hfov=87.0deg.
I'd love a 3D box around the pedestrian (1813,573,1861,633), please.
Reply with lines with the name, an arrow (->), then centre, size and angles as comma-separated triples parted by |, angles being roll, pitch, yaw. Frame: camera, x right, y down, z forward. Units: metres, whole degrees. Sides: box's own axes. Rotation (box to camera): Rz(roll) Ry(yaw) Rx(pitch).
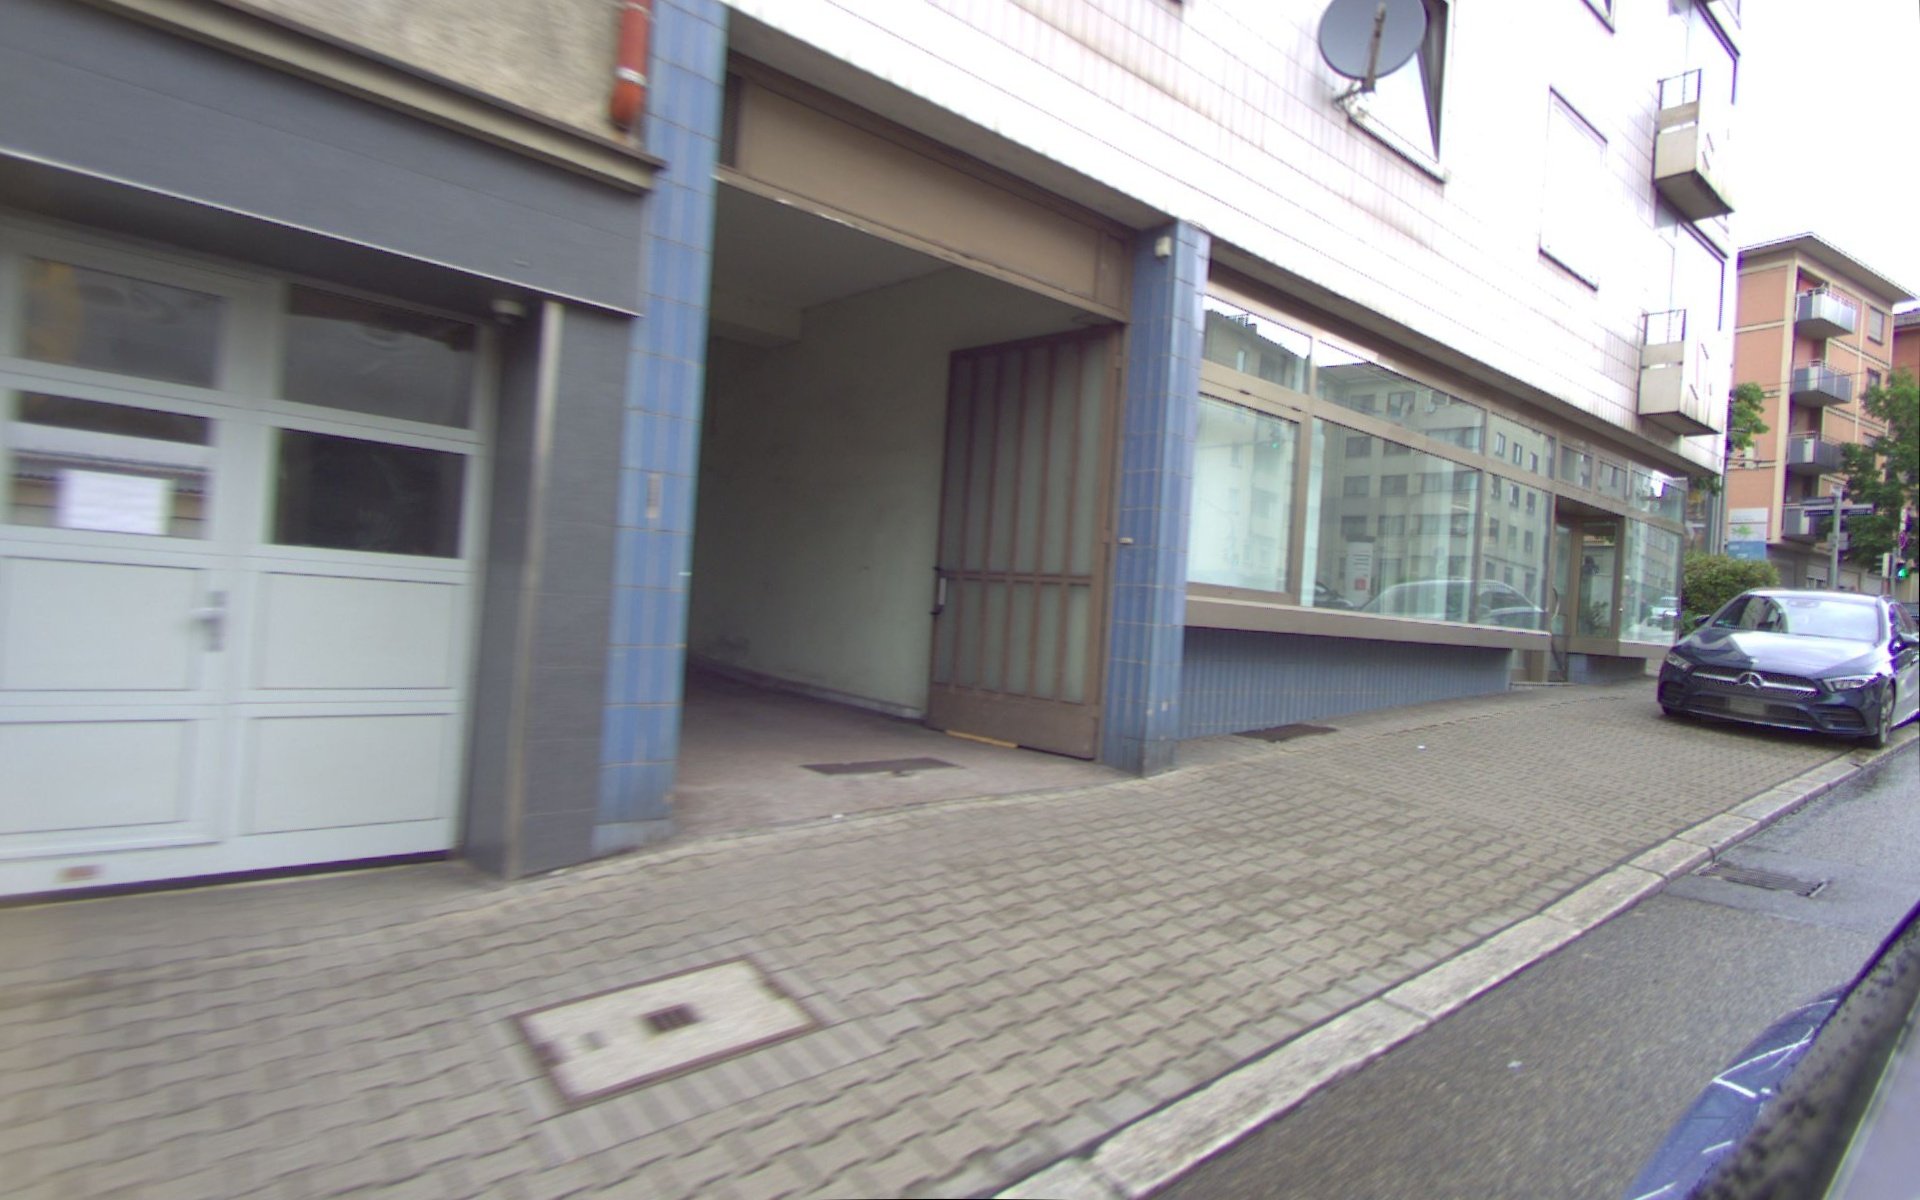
pedestrian -> 26.266, 0.084, 30.316 | 0.743, 1.667, 0.711 | 6, 1, -28

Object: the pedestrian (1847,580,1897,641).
pedestrian -> 26.664, 0.306, 29.609 | 0.751, 1.667, 0.704 | 7, 1, 24

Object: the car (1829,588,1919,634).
car -> 36.475, 0.511, 38.479 | 1.812, 1.573, 4.805 | 3, 2, -28

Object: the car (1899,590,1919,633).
car -> 39.317, 0.541, 39.144 | 1.954, 1.681, 4.003 | 3, 1, -33

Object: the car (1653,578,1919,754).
car -> 9.228, 0.534, 10.765 | 4.299, 1.408, 1.770 | -1, 5, -38
